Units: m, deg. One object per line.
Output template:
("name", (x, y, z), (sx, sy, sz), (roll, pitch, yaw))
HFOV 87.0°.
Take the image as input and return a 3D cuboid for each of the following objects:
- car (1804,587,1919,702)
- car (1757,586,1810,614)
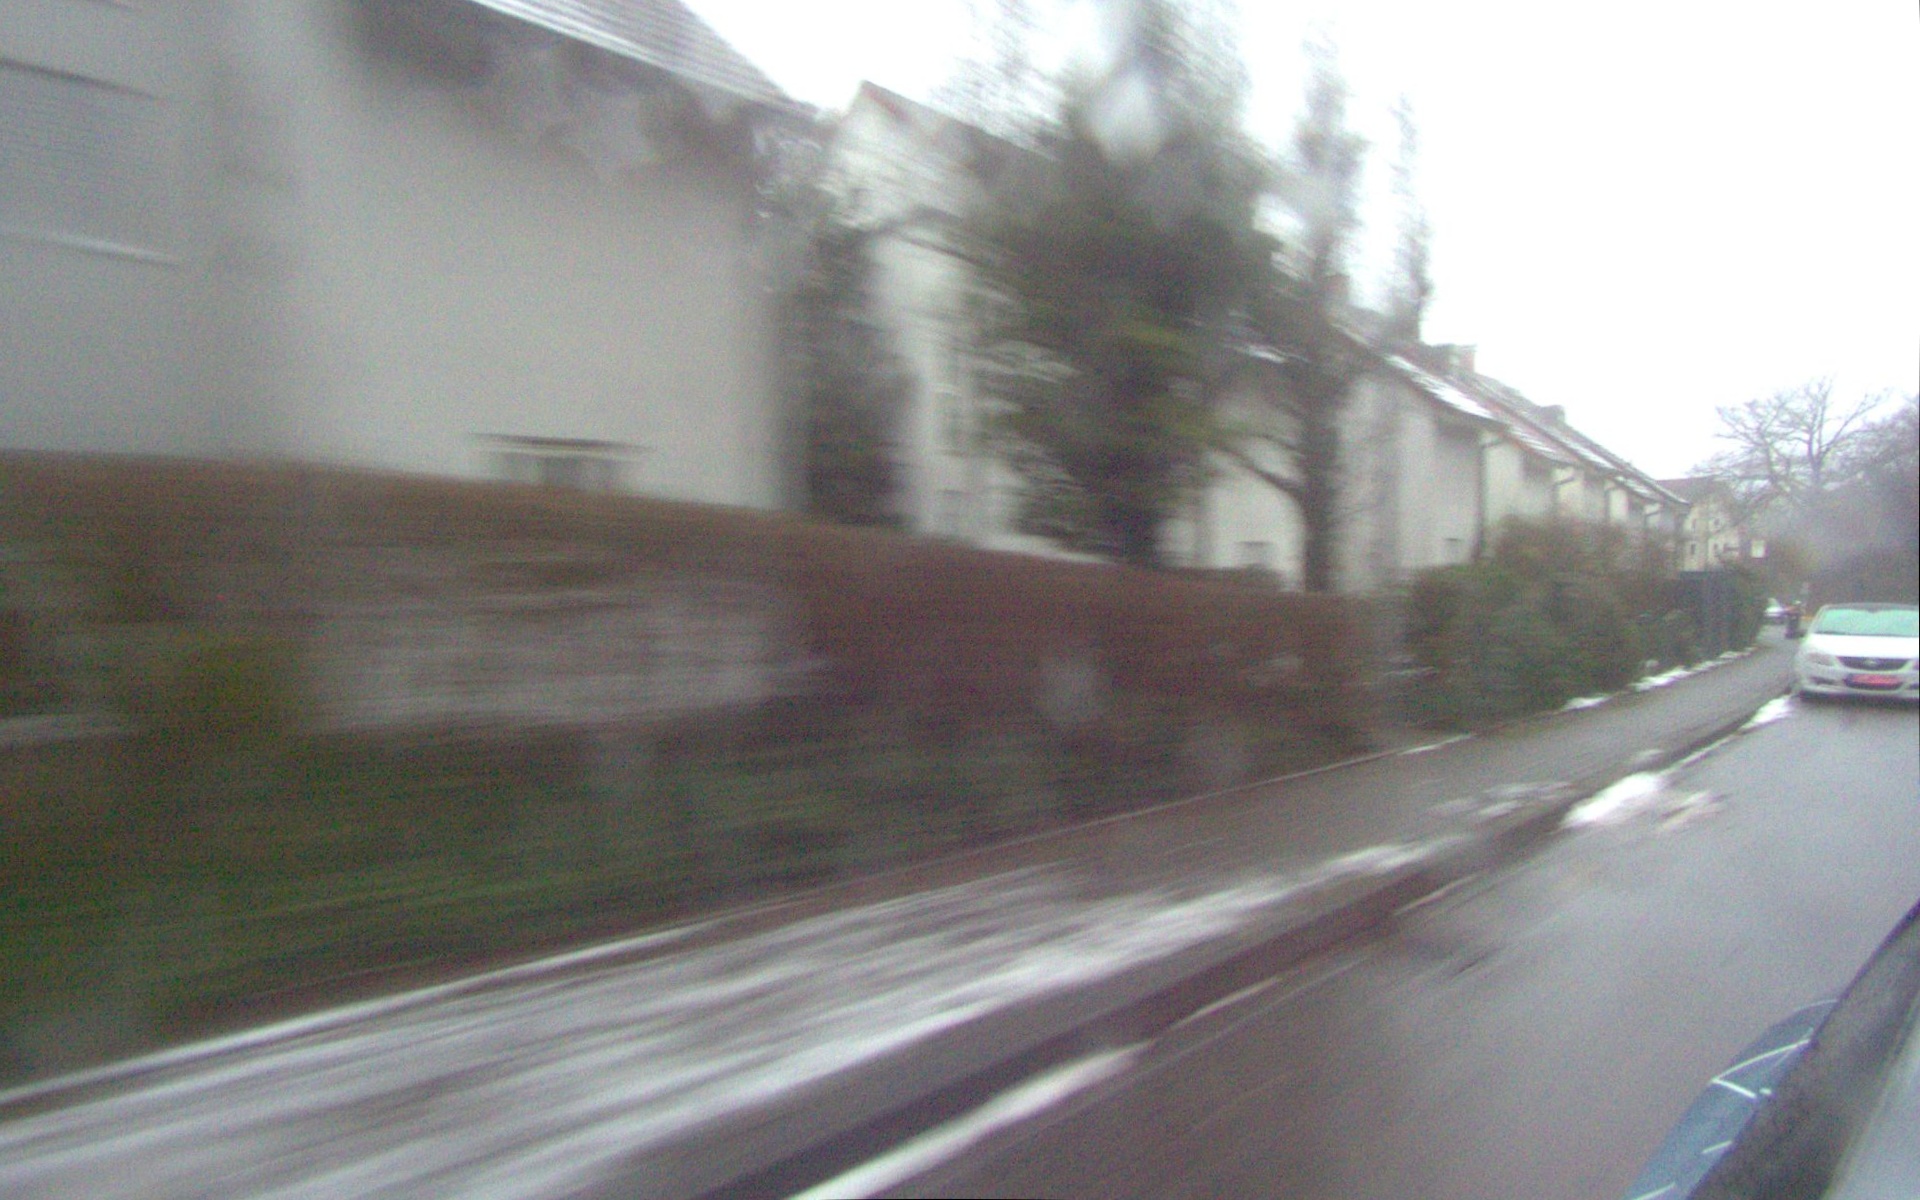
("car", (14.067, 0.584, 15.430), (1.703, 1.525, 3.964), (0, 1, 42))
("car", (45.641, -0.019, 56.178), (1.730, 1.447, 4.406), (-1, 1, 32))
